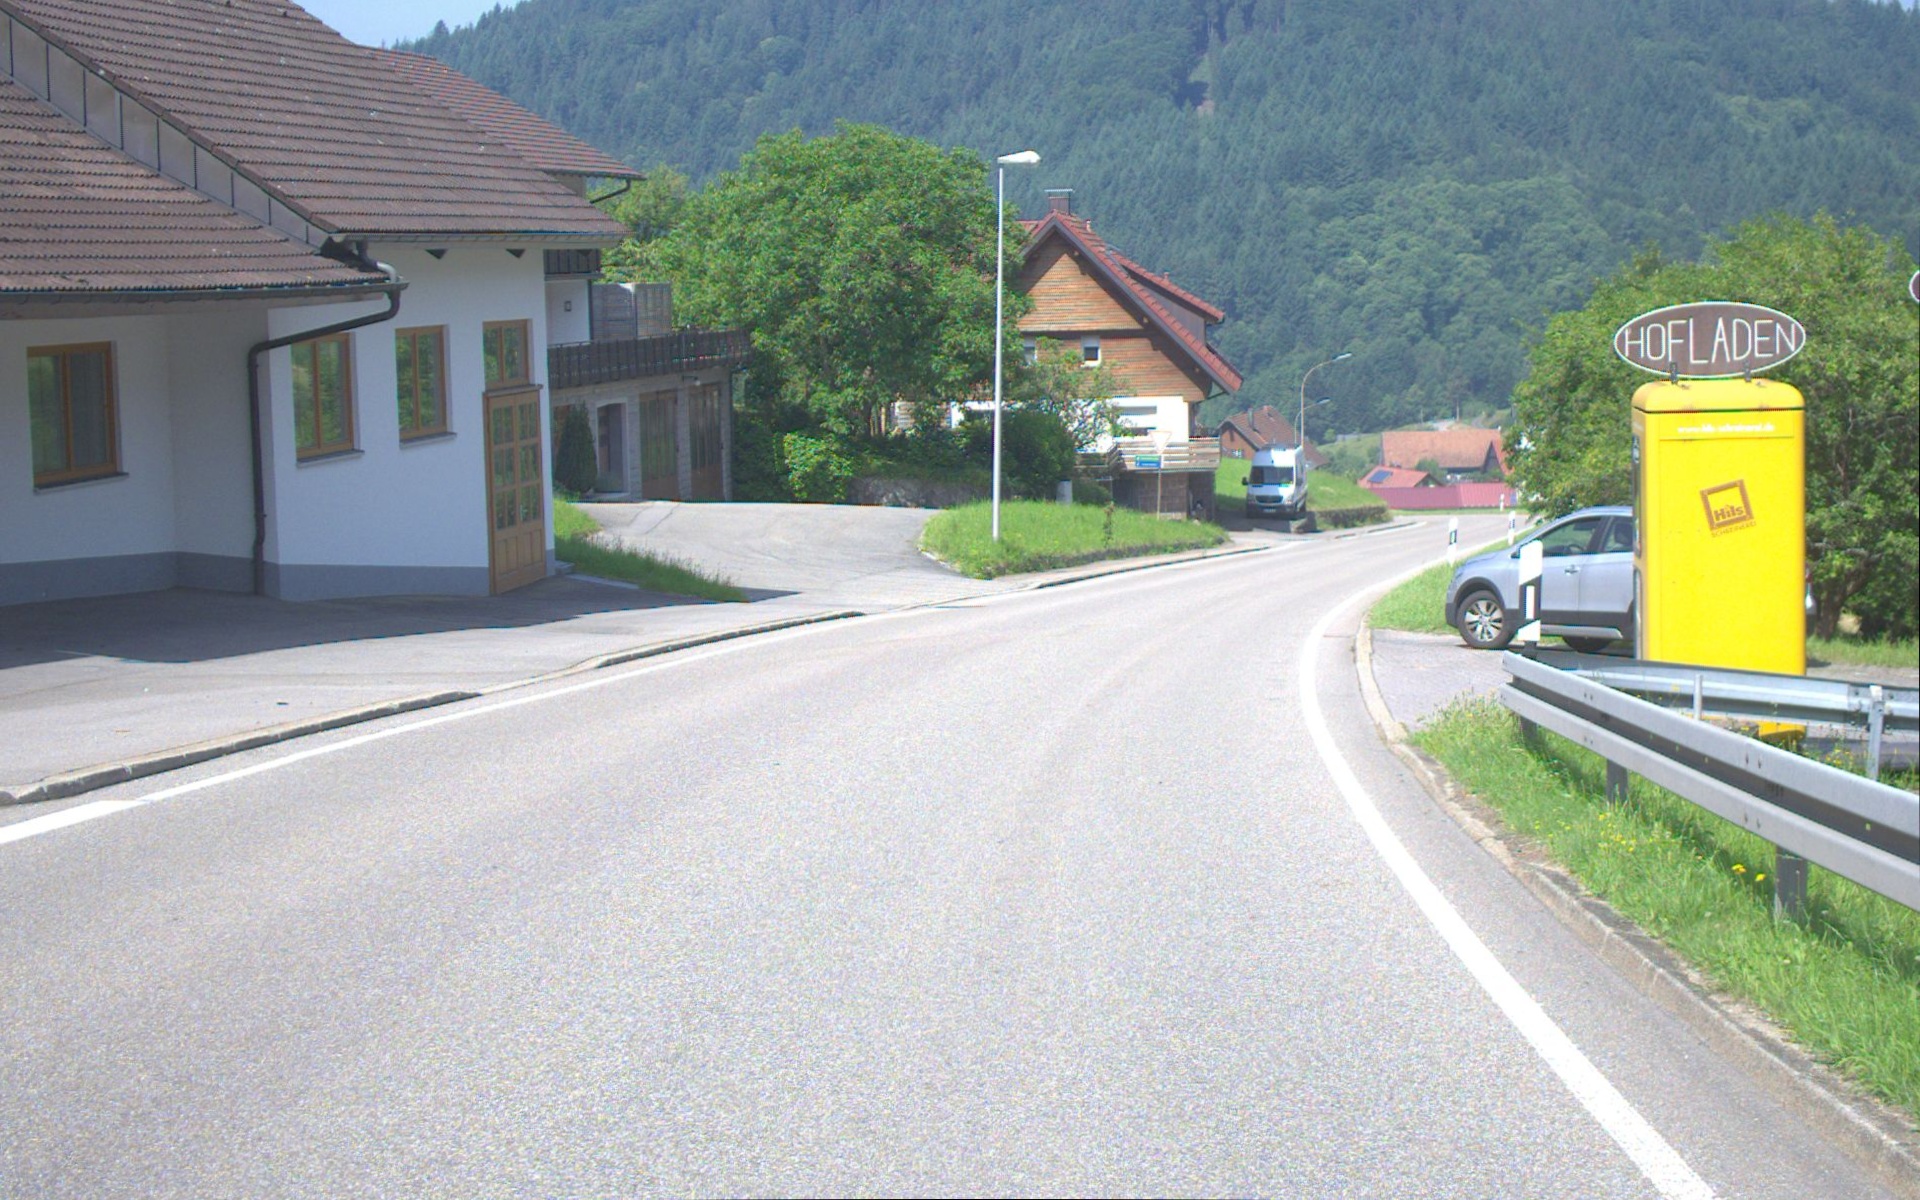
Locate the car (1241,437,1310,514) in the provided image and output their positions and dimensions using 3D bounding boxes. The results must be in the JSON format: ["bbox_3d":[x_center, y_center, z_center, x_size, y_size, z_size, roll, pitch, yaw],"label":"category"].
[{"bbox_3d":[12.657,-5.015,137.435,2.068,2.679,7.173,0,5,10],"label":"car"}]

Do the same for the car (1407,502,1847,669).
[{"bbox_3d":[6.904,-0.203,36.024,1.899,1.565,4.462,0,3,-34],"label":"car"}]
